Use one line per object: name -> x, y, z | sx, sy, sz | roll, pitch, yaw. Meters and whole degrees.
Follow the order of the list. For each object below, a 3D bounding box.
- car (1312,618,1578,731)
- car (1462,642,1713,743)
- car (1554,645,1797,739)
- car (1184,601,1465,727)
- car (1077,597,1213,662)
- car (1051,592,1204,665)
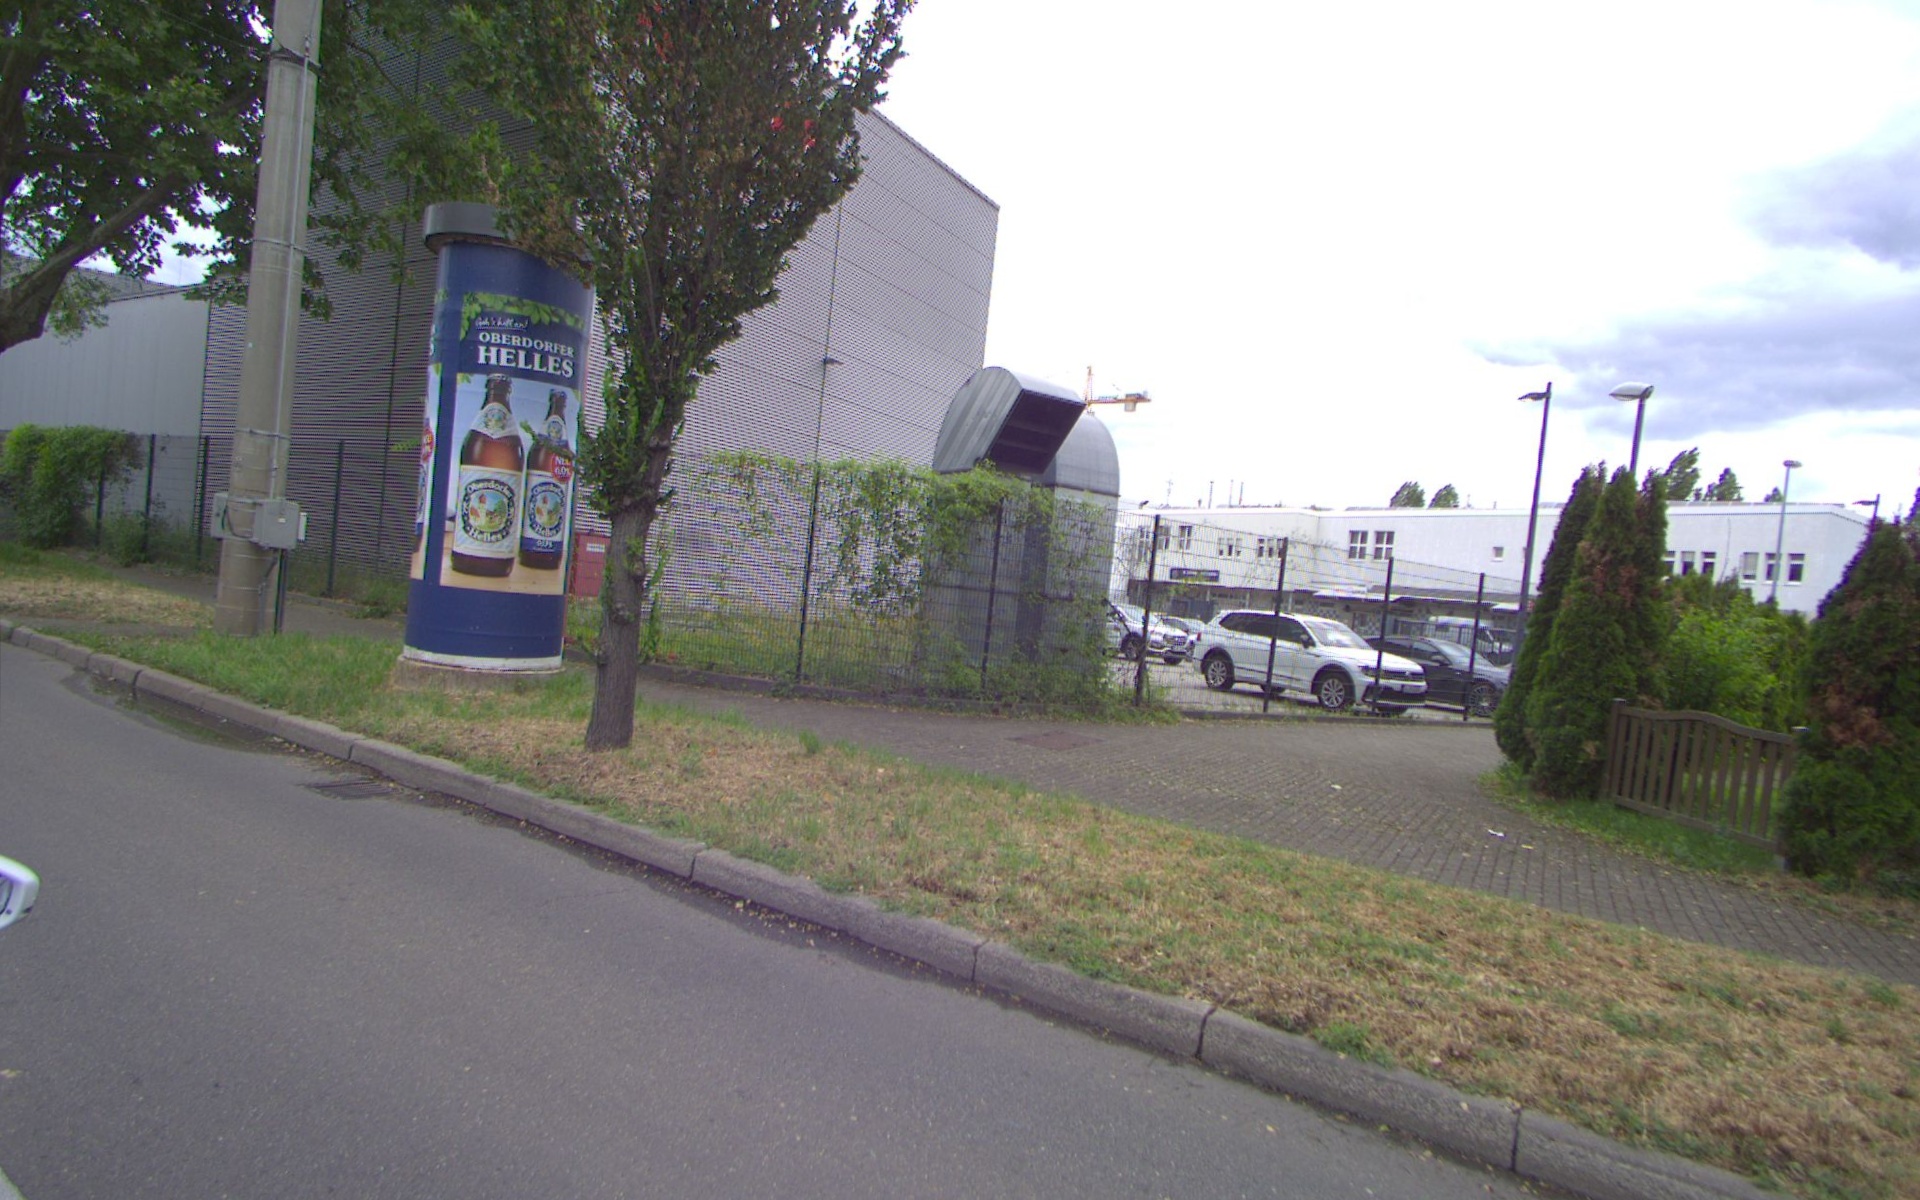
car -> 10.064, 1.495, 21.272 | 1.978, 1.696, 4.599 | 6, 1, -31
car -> 14.925, 2.153, 24.230 | 1.978, 1.696, 4.599 | 6, 1, -31
car -> 18.374, 2.328, 26.074 | 1.978, 1.696, 4.599 | 6, 1, -31
car -> 6.609, 1.101, 18.824 | 1.978, 1.696, 4.599 | 6, 1, -31
car -> 6.352, 0.997, 35.023 | 1.978, 1.696, 4.599 | 6, 1, -31
car -> 5.041, 0.828, 30.925 | 1.978, 1.696, 4.599 | 6, 1, -31
